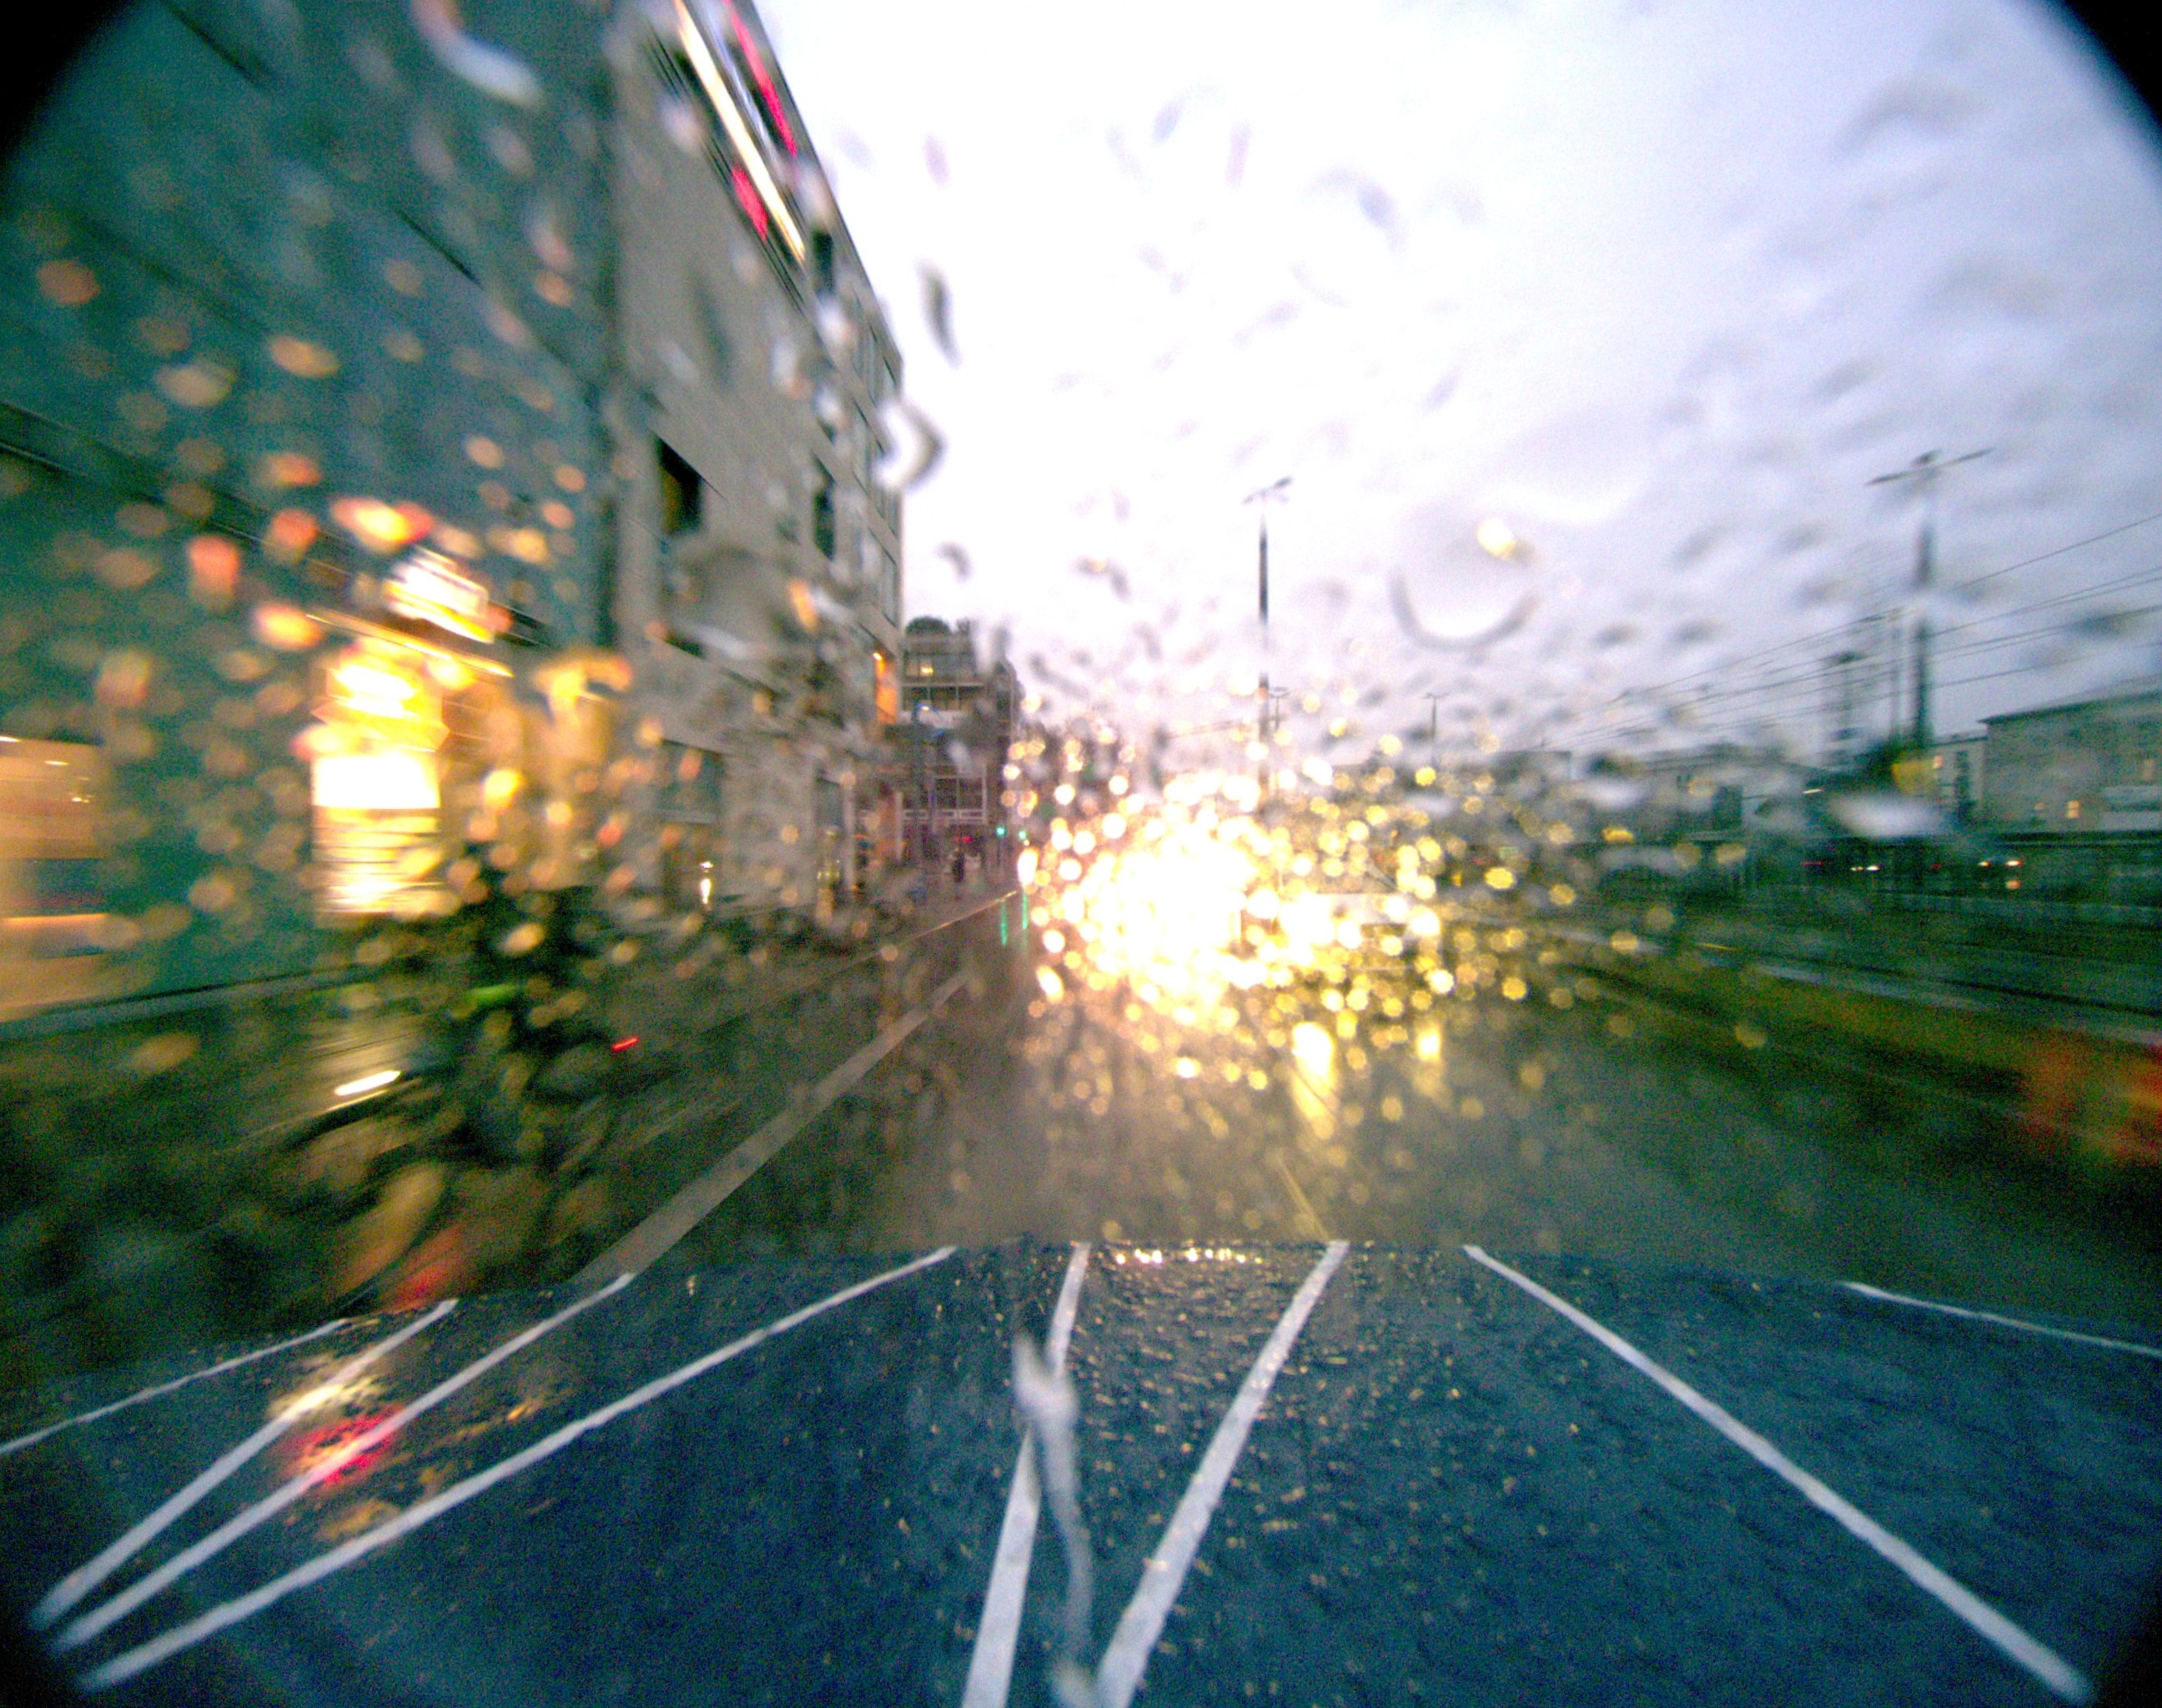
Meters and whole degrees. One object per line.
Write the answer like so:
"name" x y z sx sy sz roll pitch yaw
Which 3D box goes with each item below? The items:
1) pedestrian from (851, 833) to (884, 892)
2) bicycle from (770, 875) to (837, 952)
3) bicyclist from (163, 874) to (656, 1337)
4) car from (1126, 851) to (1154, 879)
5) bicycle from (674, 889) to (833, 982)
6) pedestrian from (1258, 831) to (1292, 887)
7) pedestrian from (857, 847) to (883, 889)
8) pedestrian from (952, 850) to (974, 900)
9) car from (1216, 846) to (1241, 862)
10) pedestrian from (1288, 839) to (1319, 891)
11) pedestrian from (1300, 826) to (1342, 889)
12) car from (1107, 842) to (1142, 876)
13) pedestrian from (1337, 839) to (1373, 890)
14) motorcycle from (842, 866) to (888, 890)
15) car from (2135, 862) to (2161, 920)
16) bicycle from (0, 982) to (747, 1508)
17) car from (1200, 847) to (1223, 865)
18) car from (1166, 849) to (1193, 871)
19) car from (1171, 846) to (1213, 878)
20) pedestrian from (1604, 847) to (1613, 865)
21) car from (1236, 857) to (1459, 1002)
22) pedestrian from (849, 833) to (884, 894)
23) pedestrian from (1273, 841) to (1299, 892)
"pedestrian" -7.900 0.321 28.124 0.965 2.149 0.581 0 1 14
"bicycle" -5.057 1.042 13.797 0.668 1.254 1.555 -2 1 -38
"bicyclist" -2.513 0.835 3.022 0.945 1.454 1.067 -1 1 7
"car" 4.512 0.822 58.744 1.998 2.002 4.000 -1 1 2
"bicycle" -4.491 1.105 10.487 1.908 1.168 0.667 1 1 2
"pedestrian" 7.466 0.181 29.308 0.906 2.133 1.017 -1 1 -9
"pedestrian" -8.085 0.539 29.142 0.779 1.598 0.501 -1 1 3
"pedestrian" -4.017 0.699 25.880 0.707 1.685 0.723 1 1 -9
"car" 14.108 -0.001 72.897 1.799 1.521 3.929 -2 0 4
"pedestrian" 7.519 0.368 25.736 0.655 1.708 0.749 -2 1 -25
"pedestrian" 8.576 0.117 27.184 1.054 2.195 0.956 -2 1 -25
"car" 2.503 0.258 43.691 1.864 1.867 4.000 -1 1 3
"pedestrian" 9.463 0.344 26.229 0.862 1.705 0.763 -2 1 -25
"motorcycle" -8.179 0.905 28.761 1.636 0.884 0.394 -1 0 3
"car" 36.100 1.207 23.143 1.878 1.862 4.384 -1 1 -1
"bicycle" -2.484 1.229 3.167 0.945 0.993 2.241 -1 1 7
"car" 14.000 0.213 81.456 1.952 1.871 4.001 -2 0 4
"car" 8.050 0.457 62.575 1.867 1.652 3.987 -1 1 2
"car" 6.126 0.407 42.277 1.998 1.673 4.001 -1 1 4
"pedestrian" 48.942 0.184 70.514 0.655 1.656 0.743 1 1 38
"car" 3.199 0.811 10.010 1.813 1.464 4.140 -1 0 5
"pedestrian" -7.734 0.346 27.398 0.960 2.179 0.711 0 1 14
"pedestrian" 7.096 0.421 26.305 0.665 1.725 0.606 0 3 38
